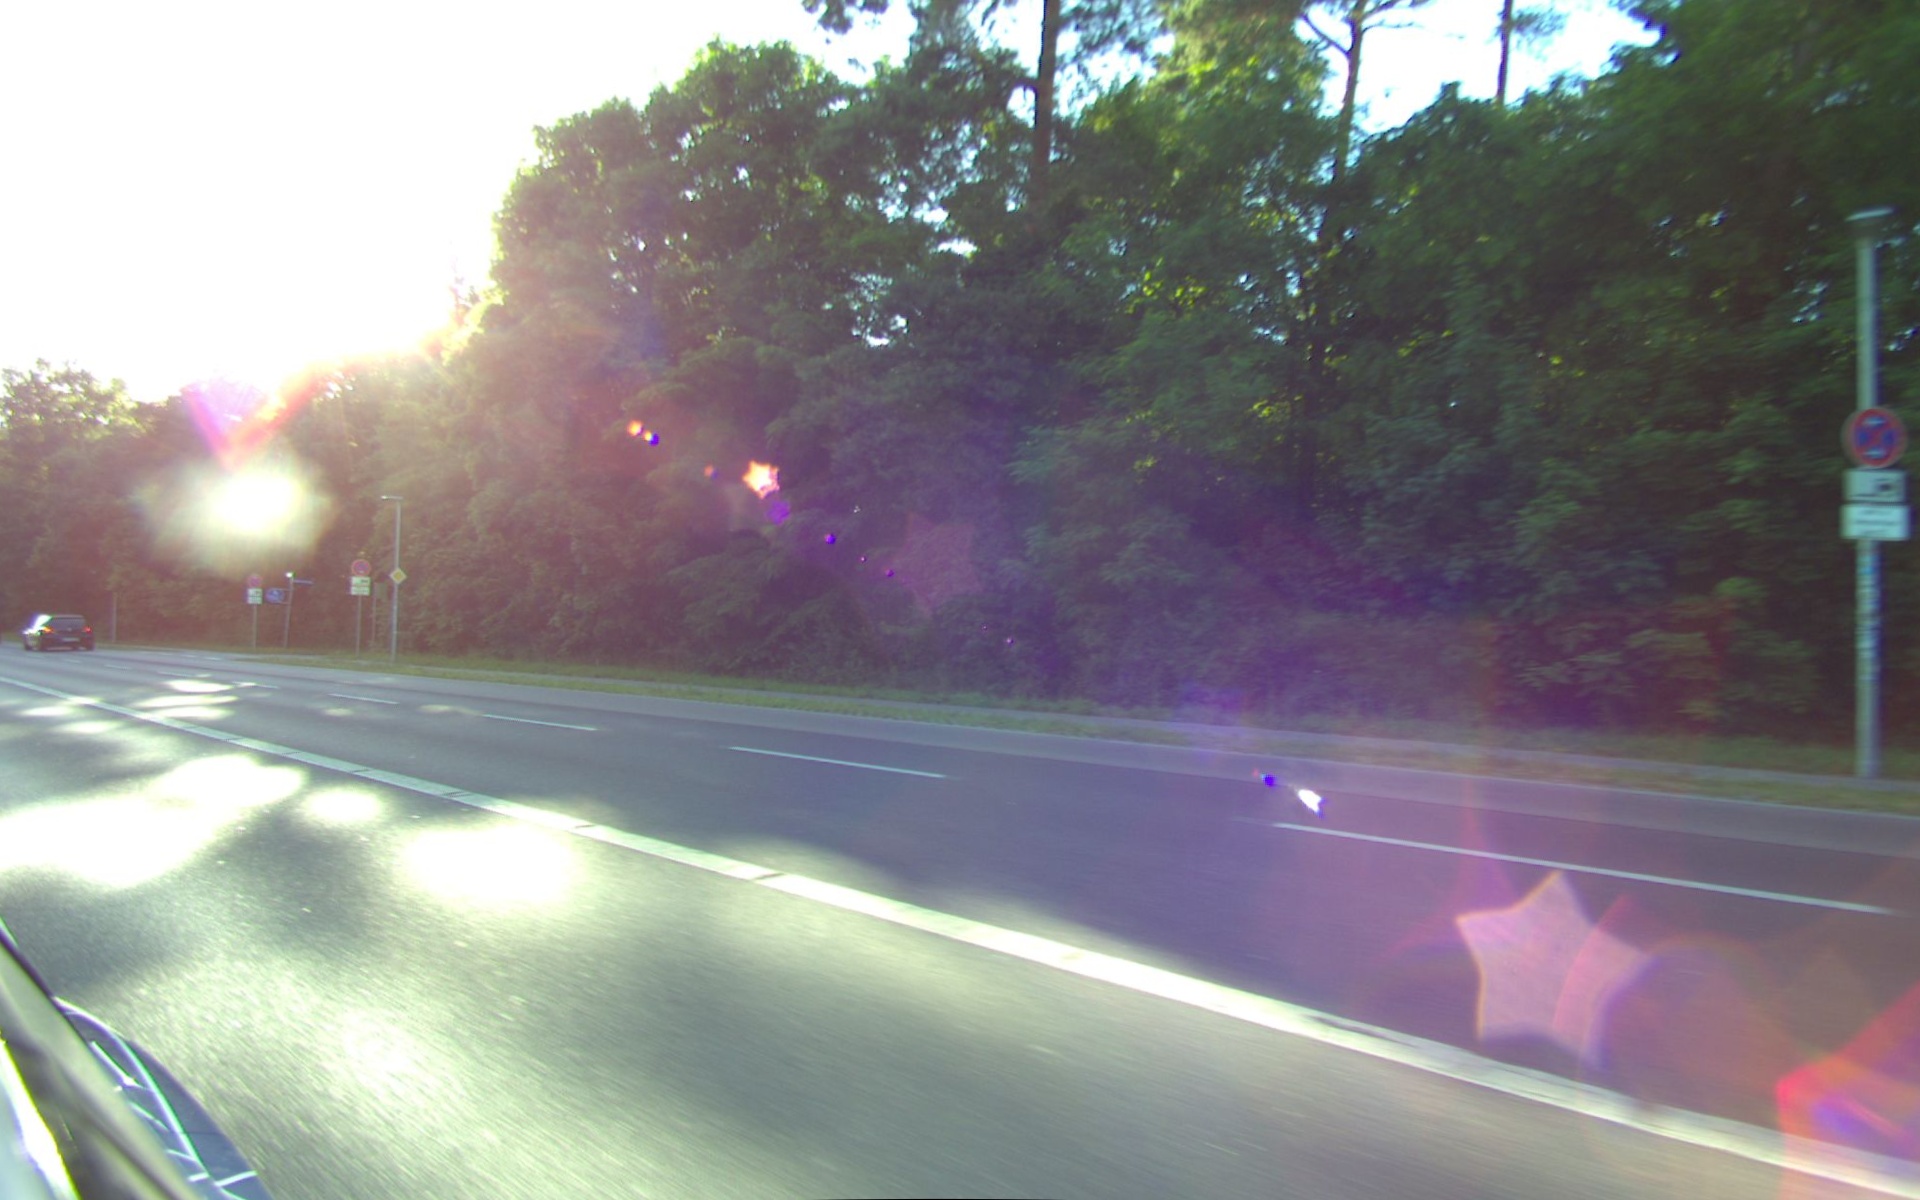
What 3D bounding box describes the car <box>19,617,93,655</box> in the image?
[{"bbox_3d":[-37.171,1.467,41.604,4.168,1.492,1.641,-1,-1,39],"label":"car"}]
